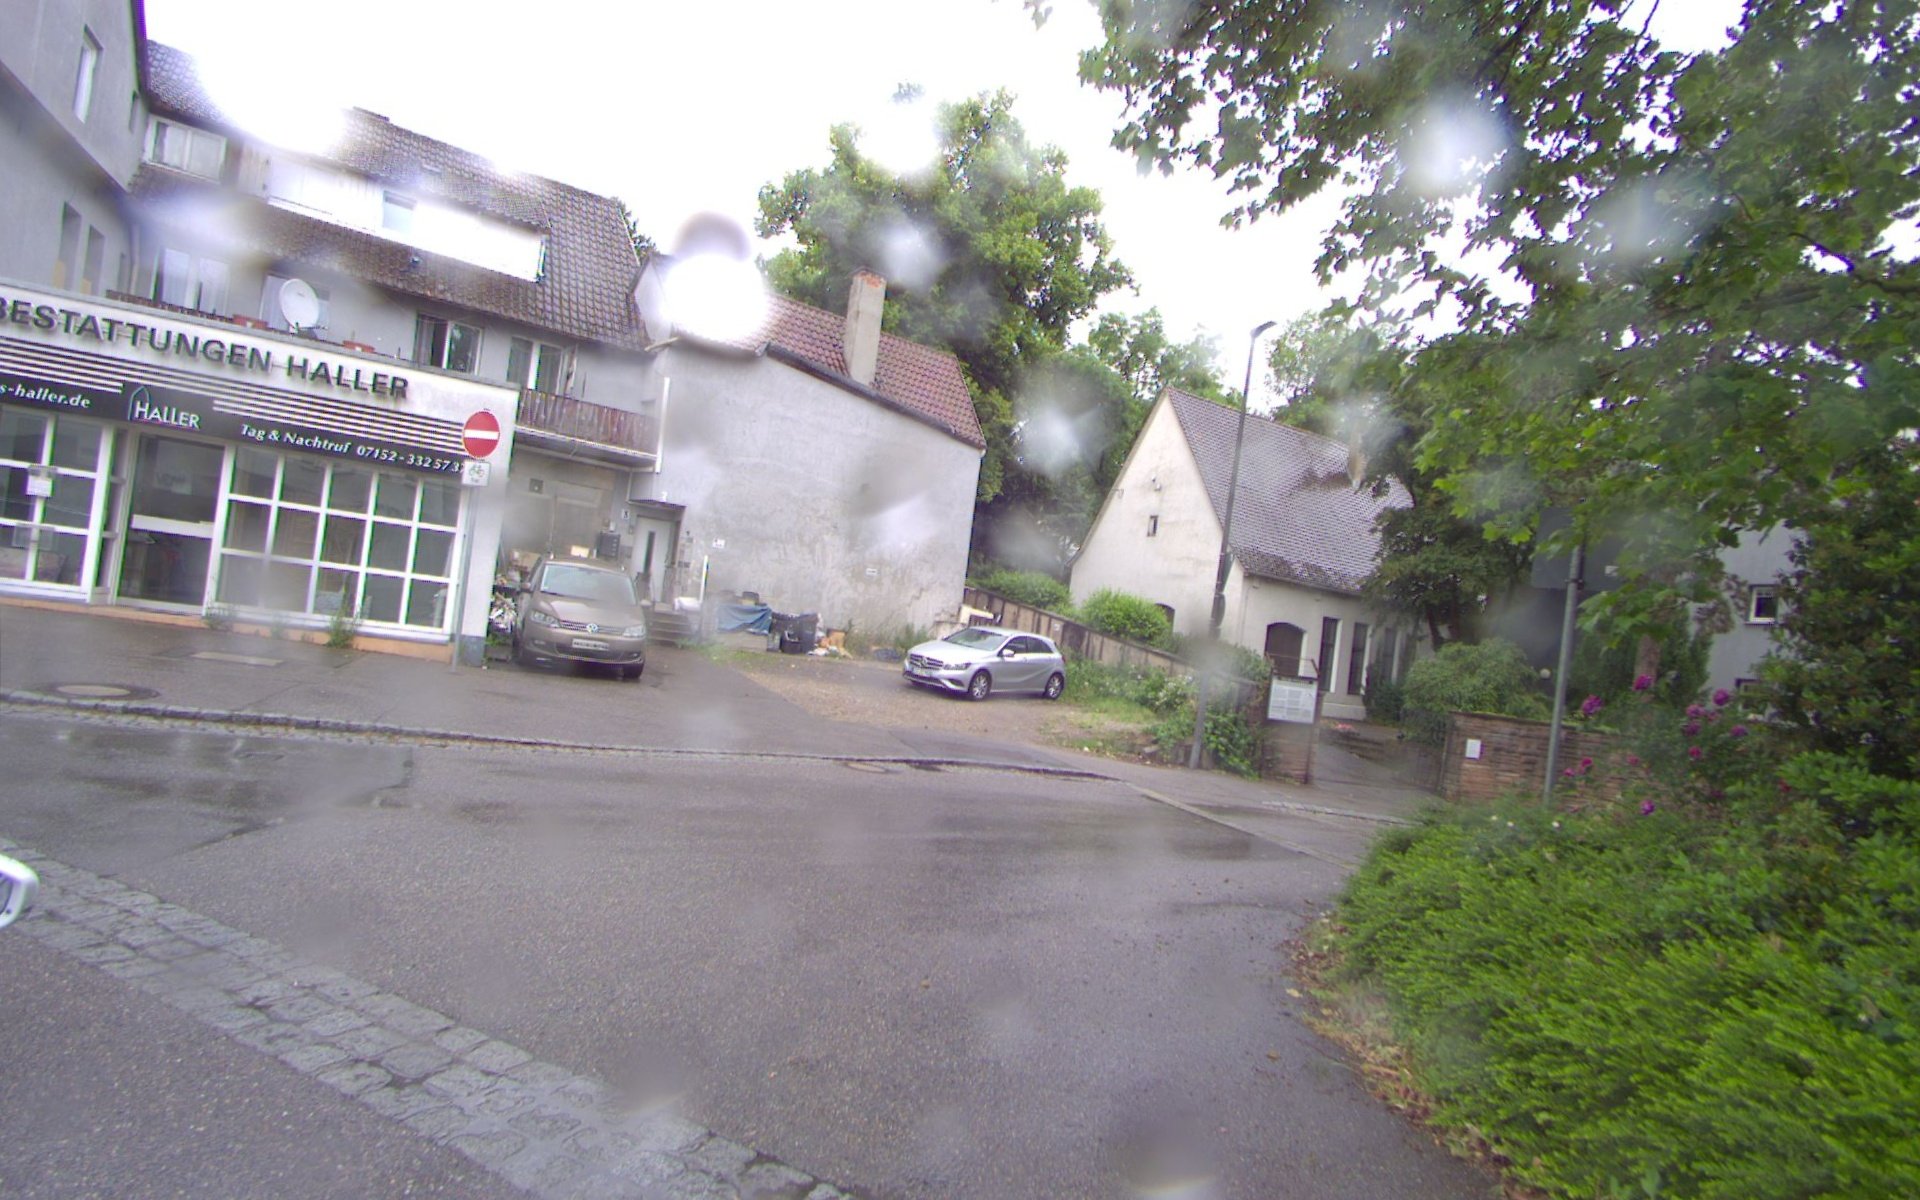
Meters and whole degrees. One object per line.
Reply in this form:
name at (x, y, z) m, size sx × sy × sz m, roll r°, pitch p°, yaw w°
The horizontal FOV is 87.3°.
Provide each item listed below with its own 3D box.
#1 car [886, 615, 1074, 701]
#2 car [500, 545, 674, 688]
car at (0.520, 1.284, 21.377) m, size 1.717 × 1.406 × 4.022 m, roll 10°, pitch 2°, yaw 40°
car at (-6.274, 0.156, 16.547) m, size 1.908 × 1.749 × 4.634 m, roll 8°, pitch 0°, yaw -28°
